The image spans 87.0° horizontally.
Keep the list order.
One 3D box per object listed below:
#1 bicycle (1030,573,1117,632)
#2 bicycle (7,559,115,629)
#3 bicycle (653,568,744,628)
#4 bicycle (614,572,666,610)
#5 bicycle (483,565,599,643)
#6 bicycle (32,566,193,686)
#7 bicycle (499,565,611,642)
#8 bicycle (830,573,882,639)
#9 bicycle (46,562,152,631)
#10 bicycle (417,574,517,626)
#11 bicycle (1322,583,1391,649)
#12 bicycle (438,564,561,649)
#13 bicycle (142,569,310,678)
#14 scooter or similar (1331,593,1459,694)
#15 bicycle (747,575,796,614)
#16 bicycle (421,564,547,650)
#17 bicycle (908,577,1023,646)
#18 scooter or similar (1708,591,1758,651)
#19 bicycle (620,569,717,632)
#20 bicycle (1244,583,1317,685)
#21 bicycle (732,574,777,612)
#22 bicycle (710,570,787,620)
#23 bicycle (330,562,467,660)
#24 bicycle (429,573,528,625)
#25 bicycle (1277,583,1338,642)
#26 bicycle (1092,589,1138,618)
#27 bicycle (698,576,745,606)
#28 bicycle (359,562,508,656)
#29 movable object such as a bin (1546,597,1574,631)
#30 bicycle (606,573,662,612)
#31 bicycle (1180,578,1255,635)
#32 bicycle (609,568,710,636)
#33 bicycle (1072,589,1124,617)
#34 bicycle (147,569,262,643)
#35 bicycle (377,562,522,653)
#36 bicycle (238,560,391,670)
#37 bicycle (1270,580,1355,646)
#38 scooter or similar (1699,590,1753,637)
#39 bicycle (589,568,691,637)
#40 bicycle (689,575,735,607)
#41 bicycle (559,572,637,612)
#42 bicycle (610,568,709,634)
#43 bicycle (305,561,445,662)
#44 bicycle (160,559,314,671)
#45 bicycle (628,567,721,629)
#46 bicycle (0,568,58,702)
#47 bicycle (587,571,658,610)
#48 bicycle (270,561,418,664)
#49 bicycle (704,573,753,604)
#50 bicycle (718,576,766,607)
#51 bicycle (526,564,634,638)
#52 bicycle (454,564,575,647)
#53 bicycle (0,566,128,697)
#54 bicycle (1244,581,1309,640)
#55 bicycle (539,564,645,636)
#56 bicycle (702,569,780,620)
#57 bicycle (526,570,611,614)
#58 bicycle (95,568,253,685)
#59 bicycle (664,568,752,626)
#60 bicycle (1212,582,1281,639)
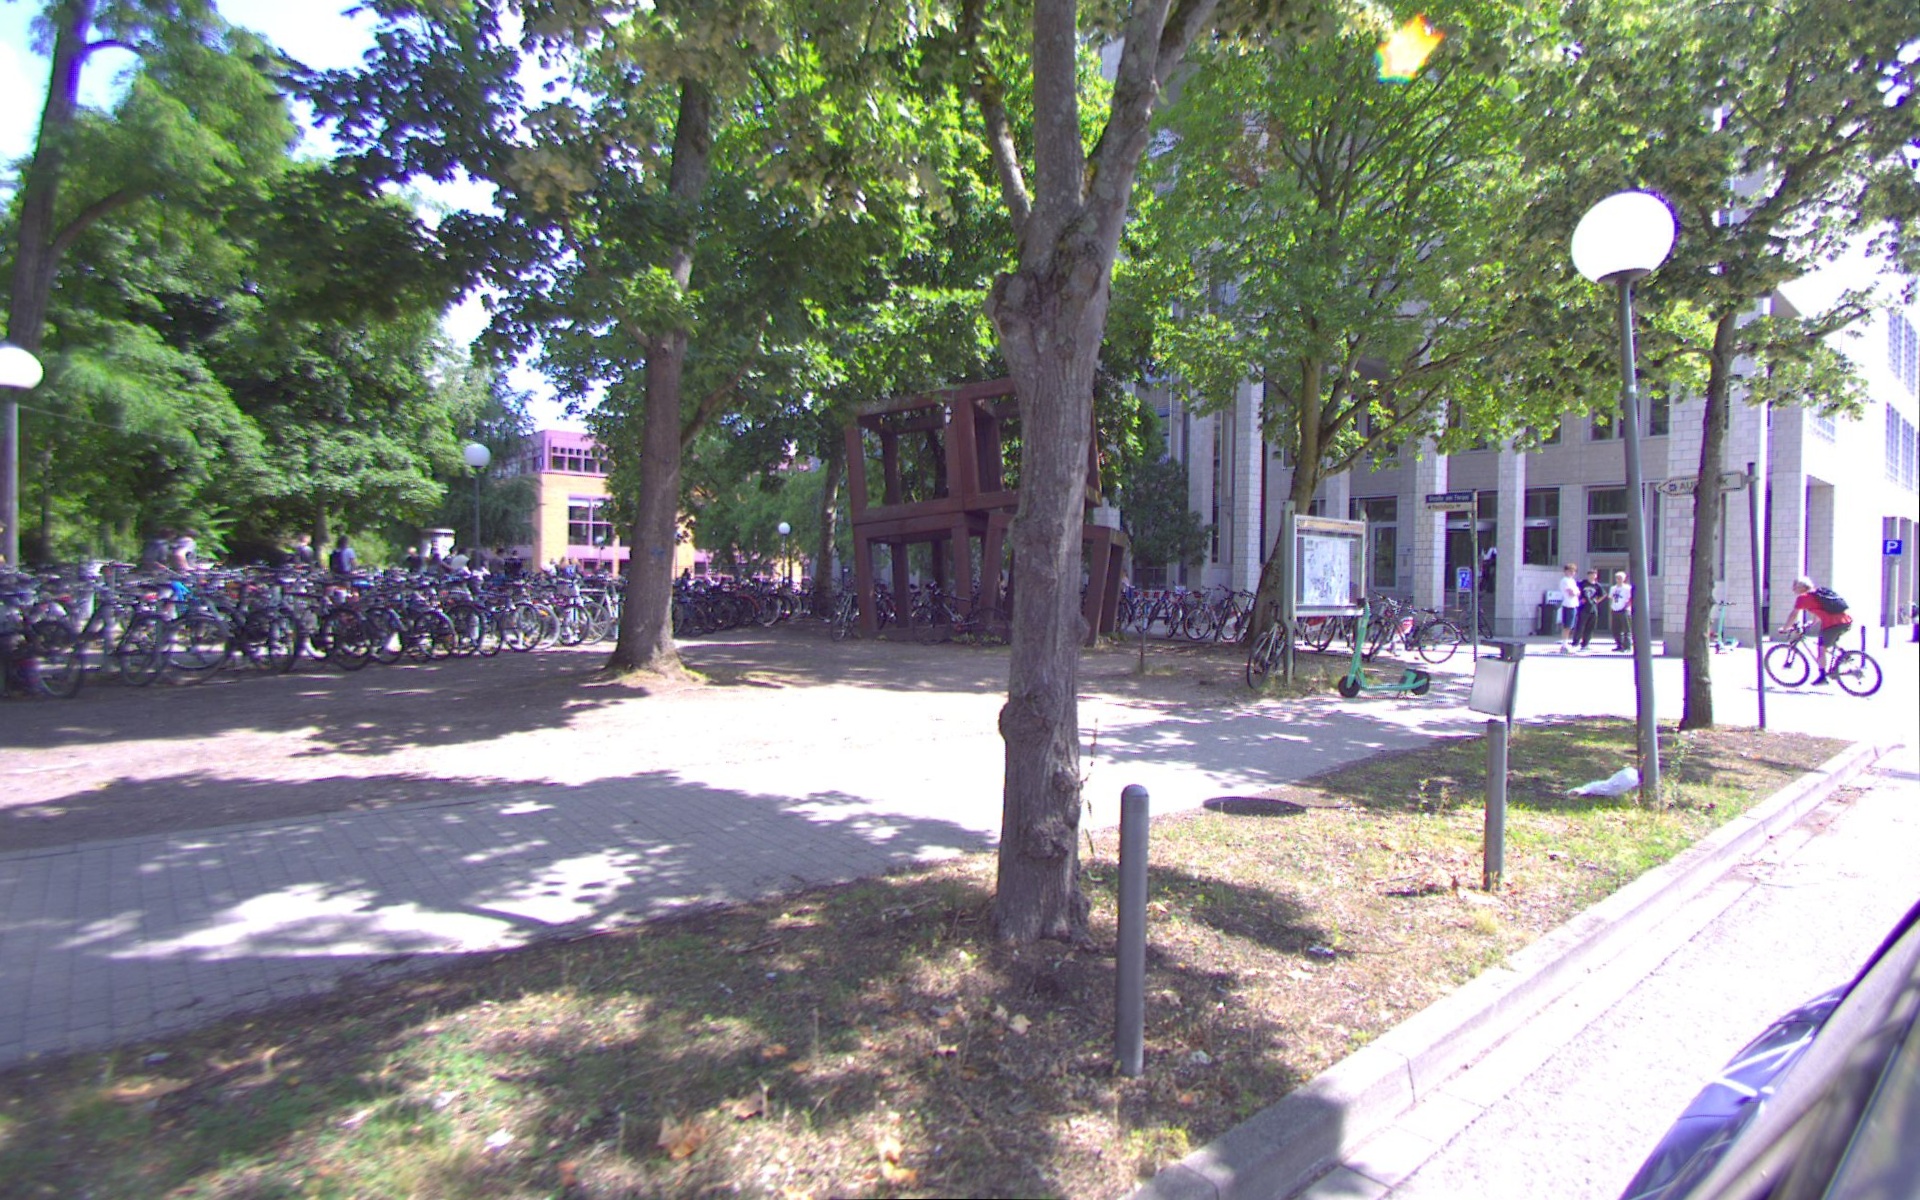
[{"bbox_3d":[2.296,0.060,20.324,1.792,1.091,0.464,2,1,-33],"label":"bicycle"},{"bbox_3d":[-13.676,-0.106,15.391,1.880,0.991,0.376,2,2,20],"label":"bicycle"},{"bbox_3d":[-5.470,-0.052,21.174,1.816,1.185,0.412,2,1,11],"label":"bicycle"},{"bbox_3d":[-9.504,-0.260,30.049,1.450,1.098,0.451,0,-2,15],"label":"bicycle"},{"bbox_3d":[-6.669,0.052,16.096,1.817,1.185,0.352,2,1,13],"label":"bicycle"},{"bbox_3d":[-8.365,0.233,9.972,1.772,1.083,0.423,2,1,22],"label":"bicycle"},{"bbox_3d":[-6.590,0.038,16.461,1.817,1.185,0.352,2,1,13],"label":"bicycle"},{"bbox_3d":[-1.889,0.088,18.588,0.468,1.123,1.665,1,2,12],"label":"bicycle"},{"bbox_3d":[-13.414,-0.064,15.758,1.880,0.991,0.376,2,2,20],"label":"bicycle"},{"bbox_3d":[-10.018,-0.013,20.584,1.871,0.991,0.478,2,2,6],"label":"bicycle"},{"bbox_3d":[7.311,0.298,18.622,1.465,1.155,0.560,2,2,-44],"label":"bicycle"},{"bbox_3d":[-6.845,0.086,15.048,1.817,1.185,0.344,2,1,13],"label":"bicycle"},{"bbox_3d":[-7.894,0.231,10.883,1.767,1.083,0.425,2,1,14],"label":"bicycle"},{"bbox_3d":[5.166,0.511,12.024,1.333,1.128,0.498,2,1,-16],"label":"scooter or similar"},{"bbox_3d":[-5.461,-0.163,29.361,1.448,1.097,0.352,0,1,-45],"label":"bicycle"},{"bbox_3d":[-6.918,0.085,14.710,1.817,1.185,0.344,2,1,13],"label":"bicycle"},{"bbox_3d":[0.097,0.174,17.422,1.895,1.123,0.630,1,2,13],"label":"bicycle"},{"bbox_3d":[17.036,0.439,22.297,1.485,1.226,0.564,-1,4,-42],"label":"scooter or similar"},{"bbox_3d":[-5.708,-0.001,19.820,1.816,1.185,0.412,2,1,11],"label":"bicycle"},{"bbox_3d":[3.992,0.382,12.538,0.622,1.097,1.674,-1,3,26],"label":"bicycle"},{"bbox_3d":[-6.096,-0.224,30.066,0.350,1.097,1.453,1,1,36],"label":"bicycle"},{"bbox_3d":[-5.228,-0.137,25.052,1.812,1.185,0.345,2,1,5],"label":"bicycle"},{"bbox_3d":[-7.225,0.124,13.015,1.819,1.185,0.344,2,1,16],"label":"bicycle"},{"bbox_3d":[-9.969,-0.028,20.964,1.871,0.991,0.478,2,2,6],"label":"bicycle"},{"bbox_3d":[6.787,0.246,19.730,1.416,1.099,0.460,2,2,-44],"label":"bicycle"},{"bbox_3d":[5.118,0.109,33.343,1.743,0.911,0.337,-1,1,-36],"label":"bicycle"},{"bbox_3d":[-8.839,-0.319,37.574,0.527,1.098,1.661,-1,-2,44],"label":"bicycle"},{"bbox_3d":[-7.007,0.112,13.488,1.811,1.185,0.345,1,1,2],"label":"bicycle"},{"bbox_3d":[17.533,0.402,29.582,0.503,0.961,0.513,1,3,-43],"label":"movable object such as a bin"},{"bbox_3d":[-9.308,-0.221,28.910,1.442,1.098,0.479,0,-2,-8],"label":"bicycle"},{"bbox_3d":[5.285,0.148,20.703,1.664,1.099,0.482,2,1,-36],"label":"bicycle"},{"bbox_3d":[-5.554,0.031,18.694,1.817,1.185,0.387,2,1,13],"label":"bicycle"},{"bbox_3d":[4.636,0.113,34.032,1.739,0.911,0.449,1,0,-23],"label":"bicycle"},{"bbox_3d":[-11.063,0.073,14.805,1.880,0.991,0.376,2,2,20],"label":"bicycle"},{"bbox_3d":[-6.984,0.093,13.862,1.811,1.185,0.345,1,1,2],"label":"bicycle"},{"bbox_3d":[-7.433,0.158,11.646,1.768,1.185,0.401,2,1,16],"label":"bicycle"},{"bbox_3d":[6.613,0.249,18.989,1.494,1.155,0.493,3,1,-22],"label":"bicycle"},{"bbox_3d":[21.647,0.375,28.628,0.555,1.226,1.508,0,3,9],"label":"scooter or similar"},{"bbox_3d":[-5.804,0.034,18.359,1.817,1.185,0.352,2,1,13],"label":"bicycle"},{"bbox_3d":[-9.344,-0.331,38.153,0.549,1.165,1.661,-1,-2,44],"label":"bicycle"},{"bbox_3d":[-9.499,-0.220,26.573,1.867,0.991,0.479,2,2,0],"label":"bicycle"},{"bbox_3d":[-5.703,0.017,19.193,1.816,1.185,0.387,2,1,11],"label":"bicycle"},{"bbox_3d":[-7.332,0.123,12.679,1.819,1.185,0.344,2,1,16],"label":"bicycle"},{"bbox_3d":[-8.176,0.150,11.438,1.768,1.185,0.401,2,1,16],"label":"bicycle"},{"bbox_3d":[-5.791,-0.044,20.527,1.816,1.185,0.412,2,1,11],"label":"bicycle"},{"bbox_3d":[-8.617,0.262,8.751,1.770,1.083,0.424,2,1,20],"label":"bicycle"},{"bbox_3d":[-9.250,-0.265,27.752,1.874,0.991,0.477,2,2,12],"label":"bicycle"},{"bbox_3d":[-7.521,0.134,12.348,1.819,1.185,0.401,2,1,16],"label":"bicycle"},{"bbox_3d":[-8.443,-0.396,36.929,1.654,1.098,0.529,1,-2,-31],"label":"bicycle"},{"bbox_3d":[-7.851,-0.296,36.505,0.527,1.098,1.661,-1,-2,44],"label":"bicycle"},{"bbox_3d":[-6.470,0.004,17.244,1.817,1.185,0.352,2,1,13],"label":"bicycle"},{"bbox_3d":[-6.773,0.073,15.378,1.817,1.185,0.344,2,1,13],"label":"bicycle"},{"bbox_3d":[-8.321,0.254,9.110,1.770,1.083,0.424,2,1,20],"label":"bicycle"},{"bbox_3d":[6.212,0.222,19.853,1.447,1.099,0.460,2,2,-40],"label":"bicycle"},{"bbox_3d":[-6.398,-0.010,17.593,1.817,1.185,0.352,2,1,13],"label":"bicycle"},{"bbox_3d":[-5.344,-0.142,24.712,1.812,1.185,0.345,2,1,5],"label":"bicycle"},{"bbox_3d":[-9.361,-0.205,24.235,1.870,0.991,0.478,2,2,5],"label":"bicycle"},{"bbox_3d":[-7.976,0.242,10.259,1.772,1.083,0.423,2,1,22],"label":"bicycle"},{"bbox_3d":[-5.390,-0.073,21.663,1.816,1.185,0.412,2,1,11],"label":"bicycle"},{"bbox_3d":[5.811,0.220,20.514,1.486,1.099,0.482,2,1,-36],"label":"bicycle"}]
